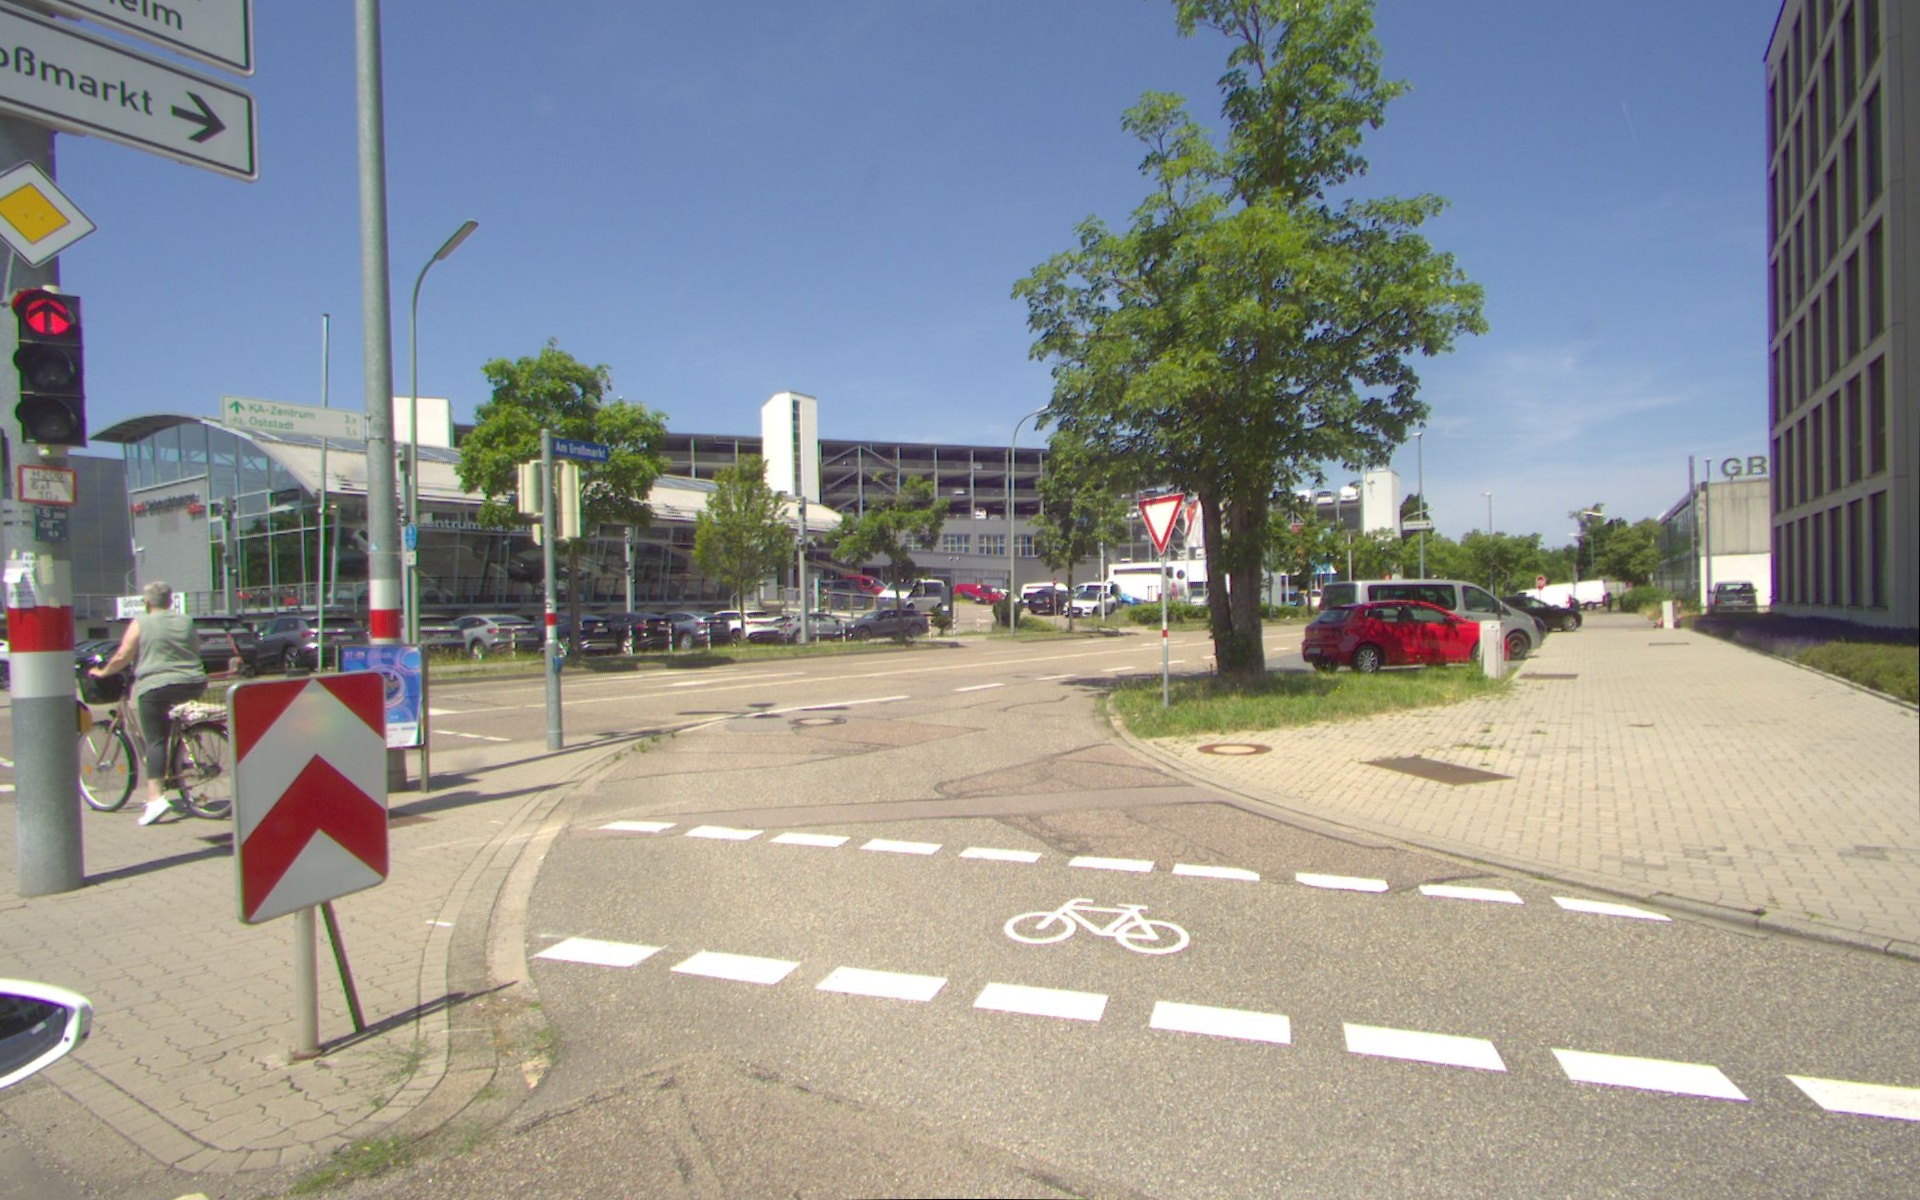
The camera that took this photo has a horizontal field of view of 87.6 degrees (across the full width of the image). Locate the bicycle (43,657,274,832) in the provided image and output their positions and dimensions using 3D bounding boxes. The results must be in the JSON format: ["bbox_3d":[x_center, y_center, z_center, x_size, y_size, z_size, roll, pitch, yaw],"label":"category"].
[{"bbox_3d":[-6.098,1.035,7.601,1.864,1.148,0.628,0,-1,26],"label":"bicycle"}]

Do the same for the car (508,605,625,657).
[{"bbox_3d":[-13.488,1.074,34.280,3.851,1.676,1.627,-1,-1,28],"label":"car"}]

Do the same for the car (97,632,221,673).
[{"bbox_3d":[-32.872,2.143,41.172,1.619,1.600,3.642,-1,-3,32],"label":"car"}]

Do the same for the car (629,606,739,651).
[{"bbox_3d":[-10.733,1.138,38.922,3.937,1.675,1.844,-1,-3,28],"label":"car"}]

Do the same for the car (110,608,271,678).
[{"bbox_3d":[-19.521,1.110,25.353,4.442,1.578,1.863,-3,0,33],"label":"car"}]

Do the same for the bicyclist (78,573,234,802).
[{"bbox_3d":[-6.091,0.639,7.601,0.812,1.626,0.628,-1,-1,26],"label":"bicyclist"}]

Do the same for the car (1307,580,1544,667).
[{"bbox_3d":[10.822,0.513,23.379,4.841,1.911,1.918,0,0,-12],"label":"car"}]

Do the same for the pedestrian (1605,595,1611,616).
[{"bbox_3d":[50.666,0.437,78.259,0.399,1.580,0.546,-1,1,33],"label":"pedestrian"}]

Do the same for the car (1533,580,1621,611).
[{"bbox_3d":[55.364,-0.325,89.859,6.606,2.552,2.206,-1,-2,35],"label":"car"}]

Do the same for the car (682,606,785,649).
[{"bbox_3d":[-9.329,1.171,41.219,3.937,1.675,1.844,-1,-3,28],"label":"car"}]

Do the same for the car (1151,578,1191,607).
[{"bbox_3d":[16.397,-0.555,77.665,1.812,2.039,3.981,-1,-2,31],"label":"car"}]

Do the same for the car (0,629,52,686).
[{"bbox_3d":[-25.154,1.399,24.097,1.843,1.407,4.583,-2,-3,34],"label":"car"}]

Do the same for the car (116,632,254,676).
[{"bbox_3d":[-30.344,2.109,39.329,1.633,1.642,3.980,-1,-3,32],"label":"car"}]

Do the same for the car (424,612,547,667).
[{"bbox_3d":[-15.091,1.202,31.816,3.758,1.637,1.635,0,0,28],"label":"car"}]

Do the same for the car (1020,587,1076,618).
[{"bbox_3d":[5.414,0.182,61.301,1.970,1.727,3.983,-1,-2,30],"label":"car"}]

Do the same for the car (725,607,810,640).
[{"bbox_3d":[-9.957,1.178,51.730,3.938,1.591,1.842,-1,0,-28],"label":"car"}]

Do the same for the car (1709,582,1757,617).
[{"bbox_3d":[42.217,0.015,54.750,1.772,1.750,3.978,-1,-2,34],"label":"car"}]

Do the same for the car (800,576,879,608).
[{"bbox_3d":[-6.747,-0.428,56.632,1.888,1.730,4.560,-1,0,35],"label":"car"}]

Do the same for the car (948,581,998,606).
[{"bbox_3d":[0.986,-0.449,74.537,1.859,1.728,3.977,-1,-1,33],"label":"car"}]

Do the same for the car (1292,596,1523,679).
[{"bbox_3d":[8.950,0.727,20.184,3.923,1.451,1.699,-2,-1,-7],"label":"car"}]

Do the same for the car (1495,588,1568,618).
[{"bbox_3d":[41.493,0.255,72.701,4.513,2.039,1.990,-1,-2,33],"label":"car"}]

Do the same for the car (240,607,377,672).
[{"bbox_3d":[-17.911,1.120,27.491,3.946,1.675,1.840,-3,-3,35],"label":"car"}]

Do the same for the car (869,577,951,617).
[{"bbox_3d":[-2.635,-0.162,54.040,1.885,1.992,5.228,-1,0,29],"label":"car"}]

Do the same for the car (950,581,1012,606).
[{"bbox_3d":[1.652,-0.494,78.021,4.525,1.821,1.903,-1,0,34],"label":"car"}]

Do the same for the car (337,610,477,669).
[{"bbox_3d":[-16.575,1.198,30.002,3.937,1.675,1.844,-1,-3,28],"label":"car"}]

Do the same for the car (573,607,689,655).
[{"bbox_3d":[-12.025,1.151,36.570,3.937,1.675,1.844,-1,-3,28],"label":"car"}]

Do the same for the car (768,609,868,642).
[{"bbox_3d":[-7.009,1.248,49.704,4.527,1.491,1.902,-1,0,-34],"label":"car"}]

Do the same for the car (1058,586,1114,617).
[{"bbox_3d":[7.627,0.136,60.162,1.970,1.727,3.983,-1,-2,30],"label":"car"}]

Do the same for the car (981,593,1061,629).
[{"bbox_3d":[3.119,0.550,50.302,1.888,1.717,4.560,-1,0,35],"label":"car"}]

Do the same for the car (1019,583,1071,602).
[{"bbox_3d":[7.824,-0.677,92.274,4.294,1.674,1.904,-1,0,31],"label":"car"}]

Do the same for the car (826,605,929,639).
[{"bbox_3d":[-3.916,1.031,47.725,4.554,1.491,1.839,-1,0,-34],"label":"car"}]

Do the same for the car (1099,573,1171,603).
[{"bbox_3d":[12.007,-0.782,68.867,4.521,1.912,1.904,-1,0,31],"label":"car"}]

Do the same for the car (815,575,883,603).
[{"bbox_3d":[-7.319,-0.714,66.183,4.082,1.745,1.907,-1,0,25],"label":"car"}]

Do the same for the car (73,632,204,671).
[{"bbox_3d":[-34.653,2.164,42.320,1.610,1.593,3.977,-1,-3,32],"label":"car"}]
